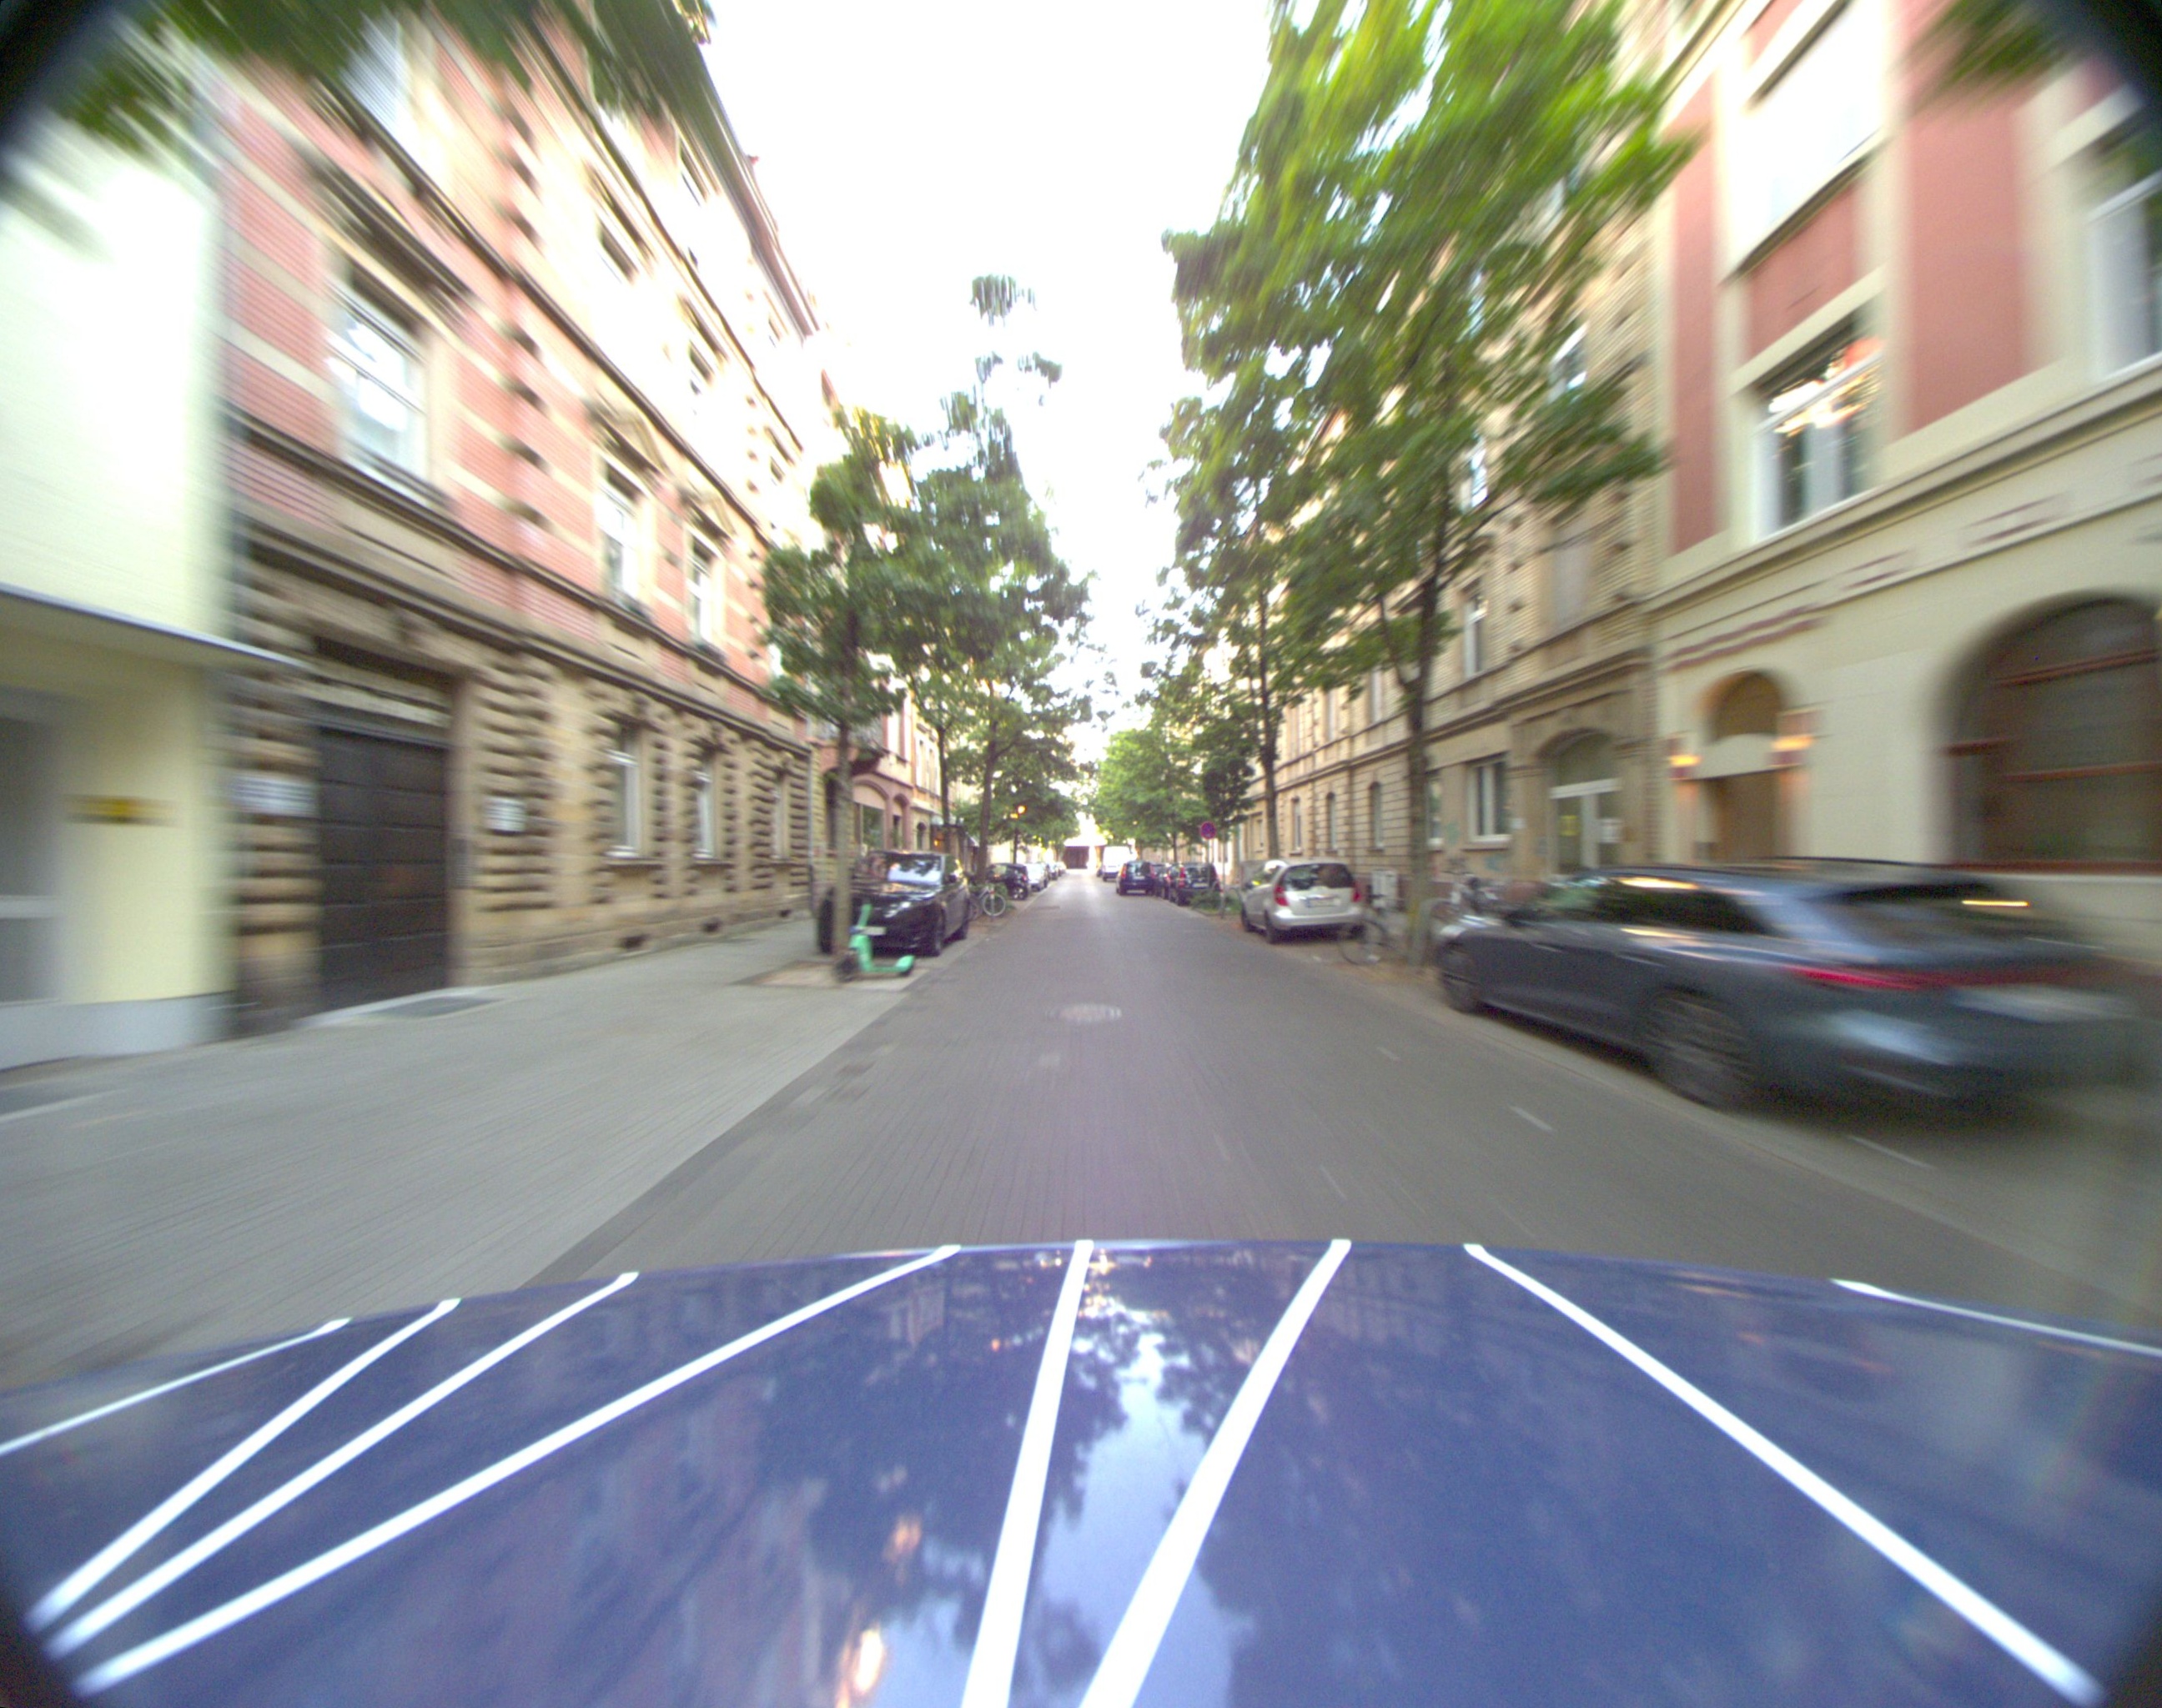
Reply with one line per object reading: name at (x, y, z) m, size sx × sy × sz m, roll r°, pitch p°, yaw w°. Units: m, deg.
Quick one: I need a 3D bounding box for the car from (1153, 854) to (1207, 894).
car at (4.123, 0.790, 32.083) m, size 1.695 × 1.493 × 3.711 m, roll -3°, pitch 1°, yaw -1°

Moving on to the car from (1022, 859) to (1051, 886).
car at (-2.683, 1.084, 46.006) m, size 1.595 × 1.551 × 3.122 m, roll -1°, pitch 0°, yaw -1°

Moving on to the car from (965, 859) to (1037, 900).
car at (-3.346, 1.048, 32.239) m, size 2.804 × 1.590 × 1.800 m, roll 2°, pitch 1°, yaw 0°

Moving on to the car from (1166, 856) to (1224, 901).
car at (4.164, 0.853, 28.199) m, size 1.523 × 1.493 × 3.561 m, roll -2°, pitch 1°, yaw 0°

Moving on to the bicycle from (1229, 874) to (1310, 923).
bicycle at (4.683, 1.084, 18.856) m, size 1.871 × 1.054 × 0.595 m, roll -3°, pitch 1°, yaw -19°

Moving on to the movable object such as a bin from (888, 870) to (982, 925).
movable object such as a bin at (-3.735, 1.095, 19.525) m, size 2.221 × 1.297 × 0.771 m, roll 2°, pitch 1°, yaw 3°

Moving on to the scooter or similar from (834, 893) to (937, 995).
scooter or similar at (-2.573, 1.148, 10.056) m, size 0.673 × 1.183 × 1.118 m, roll 2°, pitch 2°, yaw 40°

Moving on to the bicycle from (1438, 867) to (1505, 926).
bicycle at (7.805, 0.818, 15.253) m, size 0.462 × 1.083 × 1.629 m, roll -4°, pitch 0°, yaw 1°

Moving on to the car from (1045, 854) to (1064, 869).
car at (-2.695, 0.753, 78.983) m, size 1.835 × 1.530 × 4.123 m, roll -1°, pitch 0°, yaw 0°

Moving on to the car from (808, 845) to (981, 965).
car at (-3.202, 0.782, 14.168) m, size 2.019 × 1.822 × 4.810 m, roll 1°, pitch 0°, yaw 0°

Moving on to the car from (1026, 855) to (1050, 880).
car at (-2.803, 0.845, 49.390) m, size 1.468 × 1.543 × 2.917 m, roll 0°, pitch 0°, yaw -3°

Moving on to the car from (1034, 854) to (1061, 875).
car at (-2.682, 0.823, 62.043) m, size 1.944 × 1.621 × 4.453 m, roll -2°, pitch 0°, yaw 0°

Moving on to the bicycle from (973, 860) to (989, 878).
bicycle at (-6.104, 0.922, 46.591) m, size 0.688 × 1.030 × 1.950 m, roll 1°, pitch 1°, yaw 1°

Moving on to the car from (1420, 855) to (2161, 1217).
car at (4.526, 0.816, 5.722) m, size 1.810 × 1.509 × 4.684 m, roll -3°, pitch 0°, yaw 0°

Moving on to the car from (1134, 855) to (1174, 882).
car at (4.183, 0.810, 43.878) m, size 1.771 × 1.454 × 4.258 m, roll -1°, pitch 0°, yaw -1°

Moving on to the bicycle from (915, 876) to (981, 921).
bicycle at (-3.675, 1.230, 21.022) m, size 1.700 × 1.191 × 0.582 m, roll -1°, pitch 0°, yaw 3°

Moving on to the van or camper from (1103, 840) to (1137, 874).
van or camper at (2.867, 0.183, 56.955) m, size 2.225 × 2.417 × 5.660 m, roll -1°, pitch 0°, yaw 0°

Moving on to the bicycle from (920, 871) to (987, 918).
bicycle at (-3.645, 1.157, 21.838) m, size 1.766 × 1.286 × 0.801 m, roll 1°, pitch 0°, yaw 0°

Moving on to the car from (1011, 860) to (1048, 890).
car at (-2.767, 1.107, 41.630) m, size 1.738 × 1.482 × 4.103 m, roll -1°, pitch 0°, yaw 0°

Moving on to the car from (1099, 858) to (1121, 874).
car at (2.785, 1.130, 72.788) m, size 1.665 × 1.448 × 4.282 m, roll 0°, pitch 0°, yaw -4°

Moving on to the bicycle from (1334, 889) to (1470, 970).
bicycle at (4.536, 1.057, 10.790) m, size 1.688 × 0.997 × 0.430 m, roll -4°, pitch 1°, yaw 2°

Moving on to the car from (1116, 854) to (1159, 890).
car at (2.637, 0.810, 36.308) m, size 1.728 × 1.564 × 4.219 m, roll -1°, pitch 0°, yaw 0°

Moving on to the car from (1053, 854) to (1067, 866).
car at (-2.716, 0.735, 95.933) m, size 1.657 × 1.500 × 3.869 m, roll -1°, pitch 0°, yaw -2°

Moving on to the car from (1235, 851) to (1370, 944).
car at (4.335, 0.770, 15.444) m, size 1.680 × 1.598 × 3.861 m, roll -2°, pitch 0°, yaw 2°

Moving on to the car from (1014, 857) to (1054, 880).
car at (-3.271, 1.021, 53.561) m, size 2.721 × 1.564 × 1.526 m, roll 1°, pitch 0°, yaw 0°
